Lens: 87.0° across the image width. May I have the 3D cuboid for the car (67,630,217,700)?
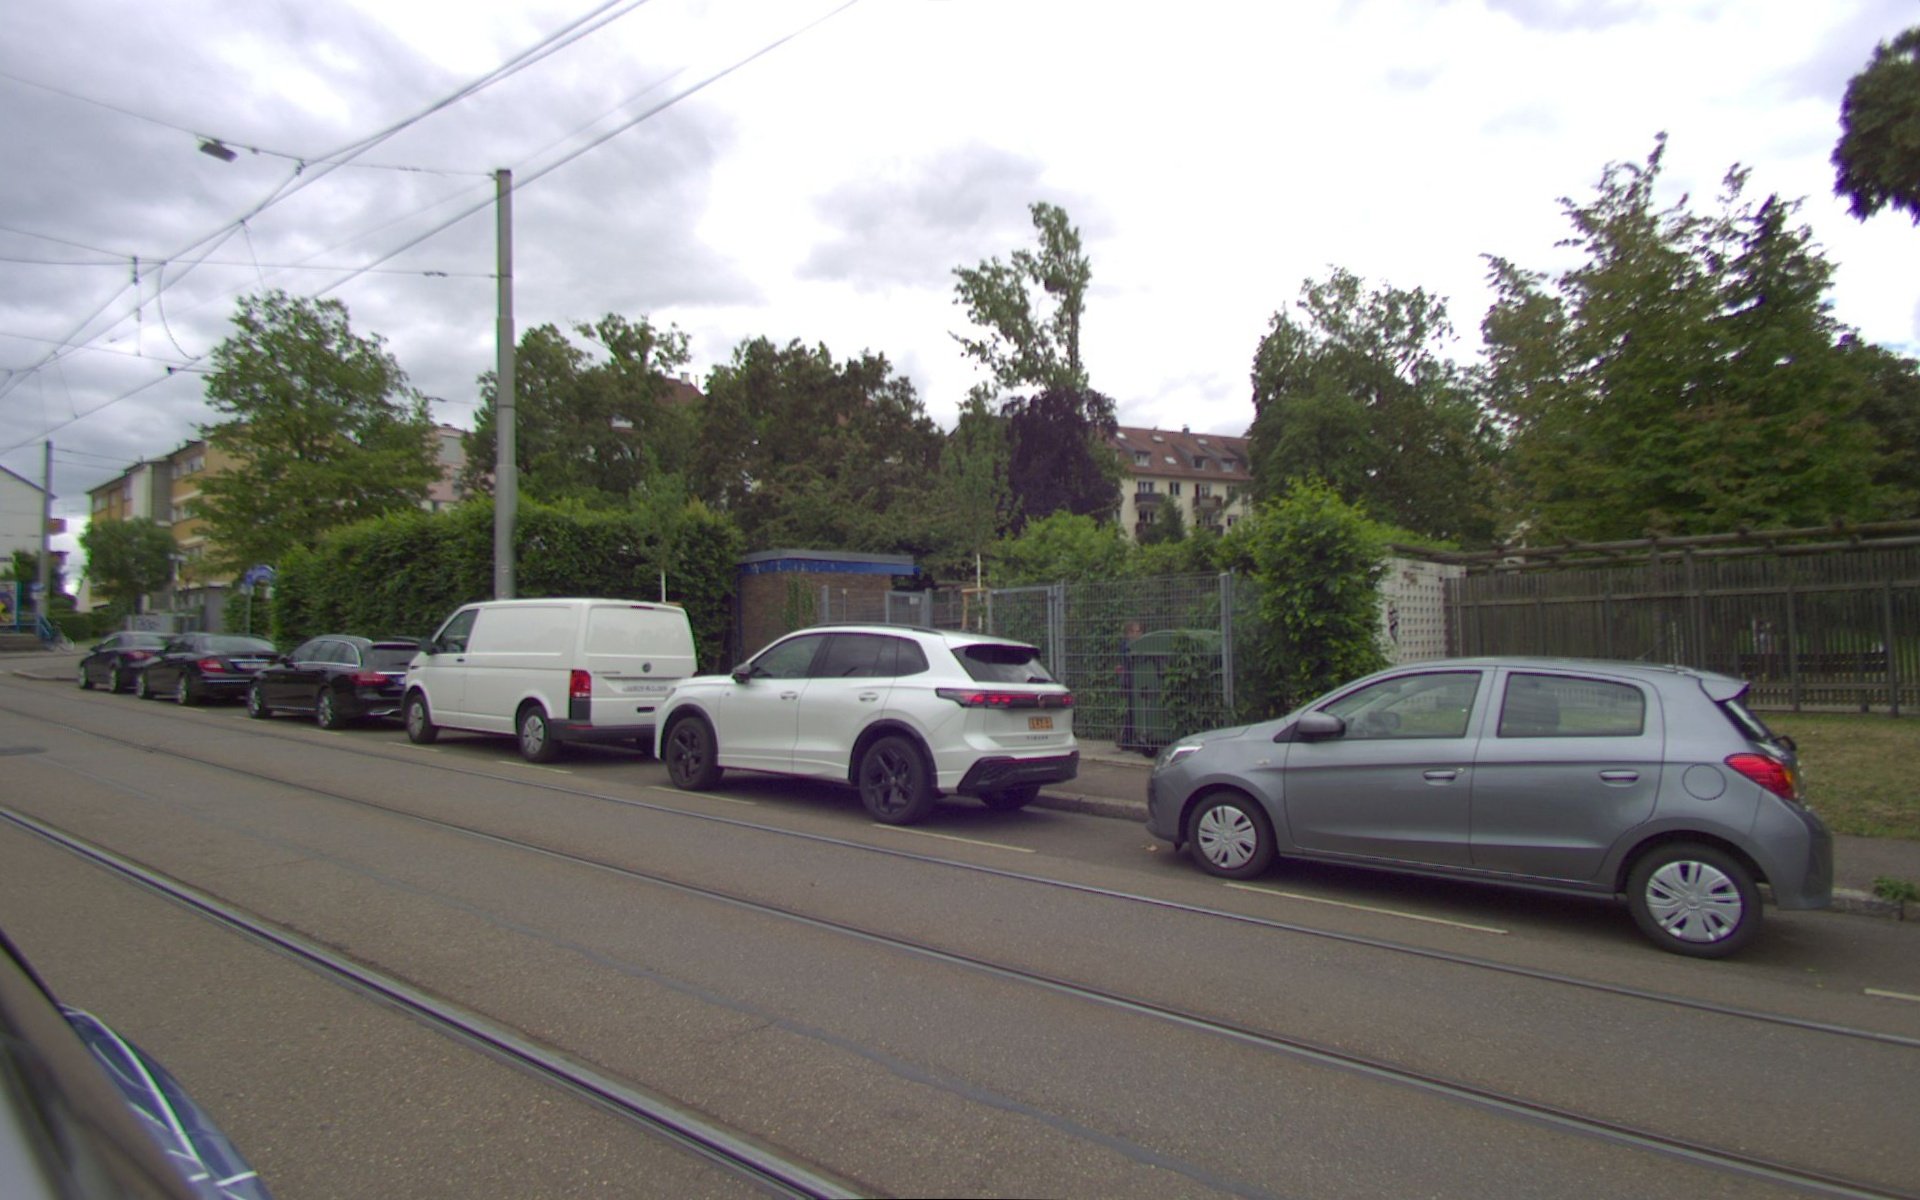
[{"bbox_3d":[-19.454,1.492,24.028,4.154,1.415,1.773,0,-2,37],"label":"car"}]

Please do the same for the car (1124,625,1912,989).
[{"bbox_3d":[3.162,0.975,6.324,3.863,1.520,1.722,0,-2,37],"label":"car"}]

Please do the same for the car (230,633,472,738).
[{"bbox_3d":[-10.114,1.311,16.682,4.510,1.397,1.823,0,-2,37],"label":"car"}]

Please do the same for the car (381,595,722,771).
[{"bbox_3d":[-5.479,0.945,13.327,4.727,1.927,1.951,0,-2,37],"label":"car"}]

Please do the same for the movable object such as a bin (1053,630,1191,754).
[{"bbox_3d":[2.001,1.079,12.463,1.201,1.383,1.263,-1,0,39],"label":"movable object such as a bin"}]

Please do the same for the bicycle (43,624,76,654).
[{"bbox_3d":[-37.313,1.618,41.930,1.486,1.190,0.705,0,-2,38],"label":"bicycle"}]

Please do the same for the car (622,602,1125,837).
[{"bbox_3d":[-0.965,0.921,9.634,4.625,1.699,1.951,0,-2,37],"label":"car"}]

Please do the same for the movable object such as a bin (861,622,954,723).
[{"bbox_3d":[-0.722,0.964,13.860,1.050,1.307,0.727,-1,0,39],"label":"movable object such as a bin"}]

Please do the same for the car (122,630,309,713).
[{"bbox_3d":[-15.152,1.380,20.527,4.432,1.397,1.823,0,-2,37],"label":"car"}]
